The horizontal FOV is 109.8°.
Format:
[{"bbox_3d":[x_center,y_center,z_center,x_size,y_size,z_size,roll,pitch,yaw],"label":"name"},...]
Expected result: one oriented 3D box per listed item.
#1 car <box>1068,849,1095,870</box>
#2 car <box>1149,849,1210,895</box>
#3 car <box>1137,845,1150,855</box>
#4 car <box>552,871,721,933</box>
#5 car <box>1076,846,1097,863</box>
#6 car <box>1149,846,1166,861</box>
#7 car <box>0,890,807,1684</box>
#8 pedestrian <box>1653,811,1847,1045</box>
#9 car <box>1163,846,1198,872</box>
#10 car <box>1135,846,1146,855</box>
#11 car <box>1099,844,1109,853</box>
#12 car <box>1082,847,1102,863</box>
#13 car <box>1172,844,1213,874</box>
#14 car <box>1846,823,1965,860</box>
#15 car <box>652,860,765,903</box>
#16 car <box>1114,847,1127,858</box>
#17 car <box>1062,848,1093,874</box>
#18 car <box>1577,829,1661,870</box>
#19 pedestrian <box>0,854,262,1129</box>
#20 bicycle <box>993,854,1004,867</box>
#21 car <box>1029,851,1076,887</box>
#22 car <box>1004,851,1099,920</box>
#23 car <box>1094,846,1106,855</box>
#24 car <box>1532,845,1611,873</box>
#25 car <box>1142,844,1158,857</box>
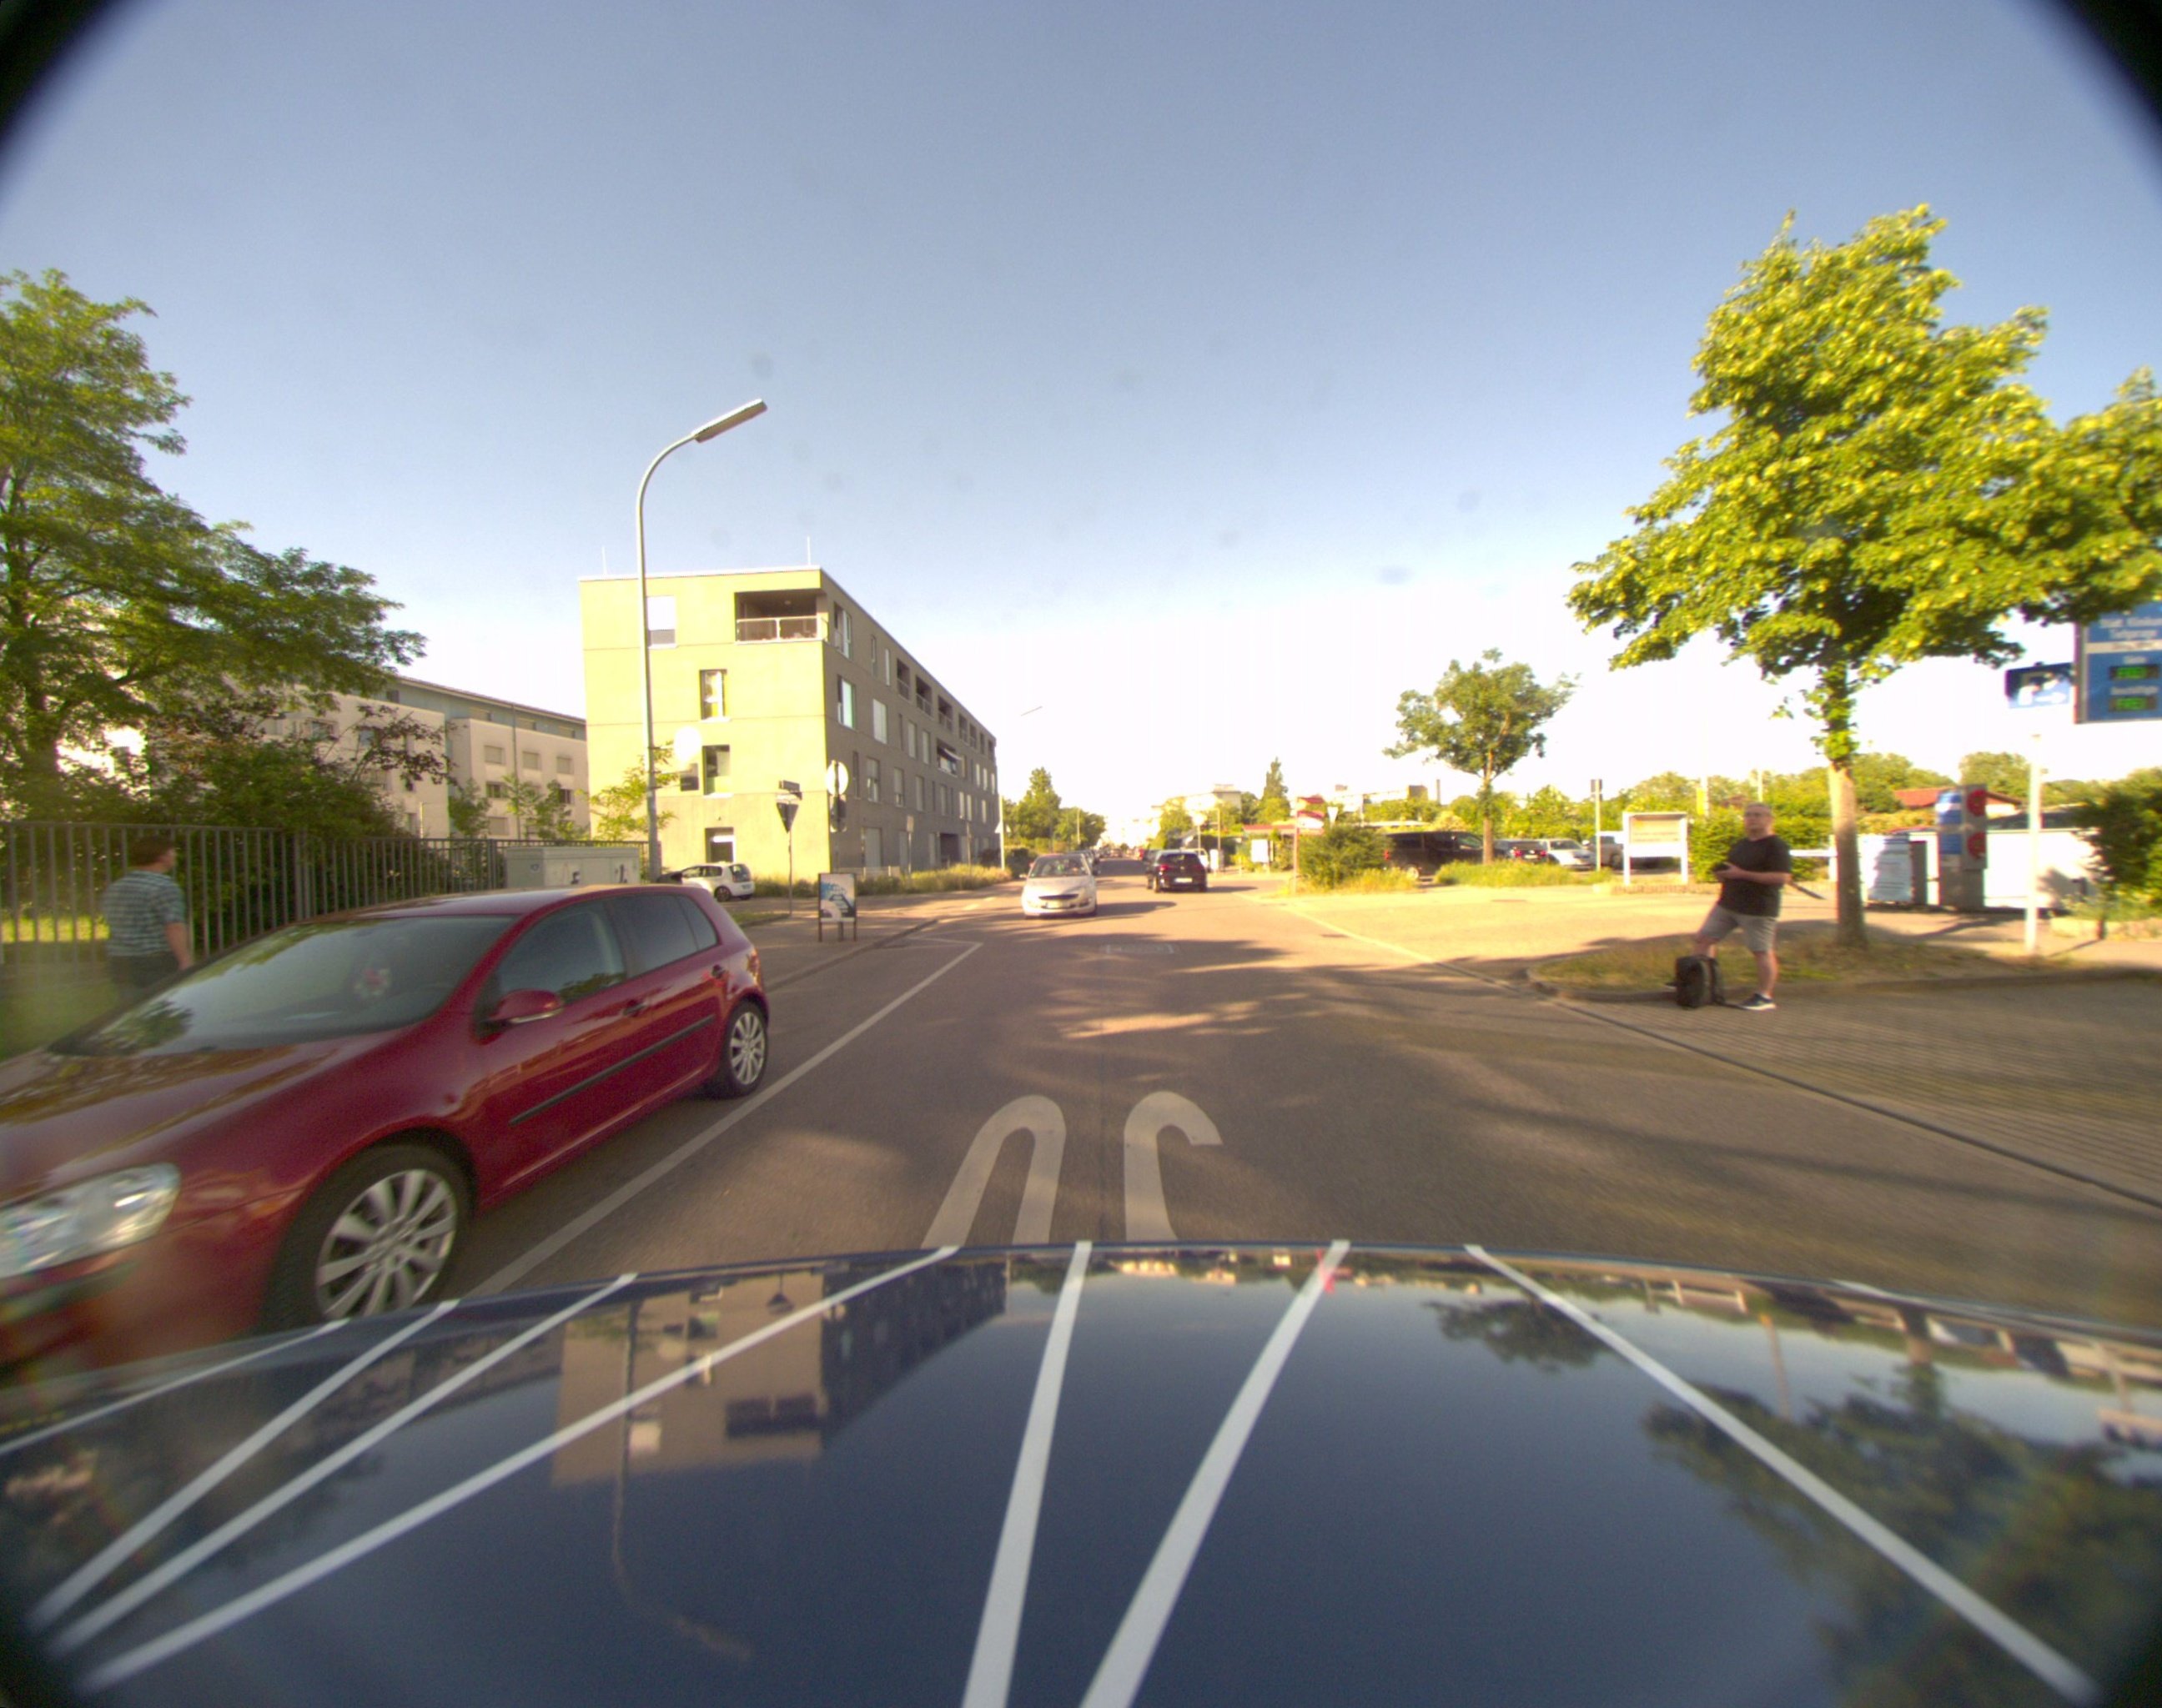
[{"bbox_3d":[0.109,0.355,58.194,1.749,1.421,4.586,-3,1,3],"label":"car"},{"bbox_3d":[3.310,0.547,26.287,1.708,1.443,4.086,0,1,2],"label":"car"},{"bbox_3d":[9.400,-0.635,114.230,1.700,1.421,4.386,-2,1,2],"label":"car"},{"bbox_3d":[-11.793,1.250,20.291,3.554,1.477,1.600,-2,1,3],"label":"car"},{"bbox_3d":[0.568,0.036,73.389,1.710,1.517,4.155,-3,1,3],"label":"car"},{"bbox_3d":[7.877,-0.093,78.374,1.531,1.479,3.402,-2,1,2],"label":"car"},{"bbox_3d":[-3.142,1.073,3.711,1.724,1.446,4.652,-3,1,2],"label":"car"},{"bbox_3d":[5.659,0.594,6.490,0.859,1.832,0.826,-3,1,4],"label":"pedestrian"},{"bbox_3d":[6.349,0.261,48.954,1.751,1.437,4.541,-5,1,3],"label":"car"},{"bbox_3d":[9.686,-0.600,124.197,1.700,1.361,3.910,-2,1,2],"label":"car"},{"bbox_3d":[5.136,-1.256,170.212,1.998,2.002,4.000,-1,1,2],"label":"car"},{"bbox_3d":[1.209,0.056,82.341,1.748,1.558,4.804,-3,1,4],"label":"car"},{"bbox_3d":[6.160,0.264,42.515,1.700,1.504,4.517,-4,0,2],"label":"car"},{"bbox_3d":[36.460,-0.541,33.753,1.508,1.476,3.848,-2,1,8],"label":"car"},{"bbox_3d":[-13.931,1.010,28.514,3.333,1.450,1.715,-1,1,7],"label":"car"},{"bbox_3d":[6.627,-0.240,127.453,1.947,1.717,4.839,-1,1,4],"label":"car"},{"bbox_3d":[-0.196,0.425,51.495,1.821,1.590,4.627,-4,1,1],"label":"car"},{"bbox_3d":[24.257,-0.212,34.393,1.508,1.685,3.848,-2,1,8],"label":"car"},{"bbox_3d":[-6.580,0.882,5.314,0.719,1.748,0.885,1,1,3],"label":"pedestrian"},{"bbox_3d":[-7.225,0.556,66.518,0.553,1.055,1.842,-2,1,6],"label":"bicycle"},{"bbox_3d":[-1.269,0.637,35.676,1.823,1.491,4.452,-2,1,2],"label":"car"},{"bbox_3d":[-0.608,0.676,18.537,1.678,1.440,4.001,-1,1,7],"label":"car"},{"bbox_3d":[3.353,-0.679,133.118,1.873,1.517,4.155,-2,1,3],"label":"car"},{"bbox_3d":[21.844,0.176,33.981,1.508,1.145,3.848,-2,1,8],"label":"car"},{"bbox_3d":[8.701,-0.436,95.837,1.700,1.415,4.517,-4,1,2],"label":"car"}]
